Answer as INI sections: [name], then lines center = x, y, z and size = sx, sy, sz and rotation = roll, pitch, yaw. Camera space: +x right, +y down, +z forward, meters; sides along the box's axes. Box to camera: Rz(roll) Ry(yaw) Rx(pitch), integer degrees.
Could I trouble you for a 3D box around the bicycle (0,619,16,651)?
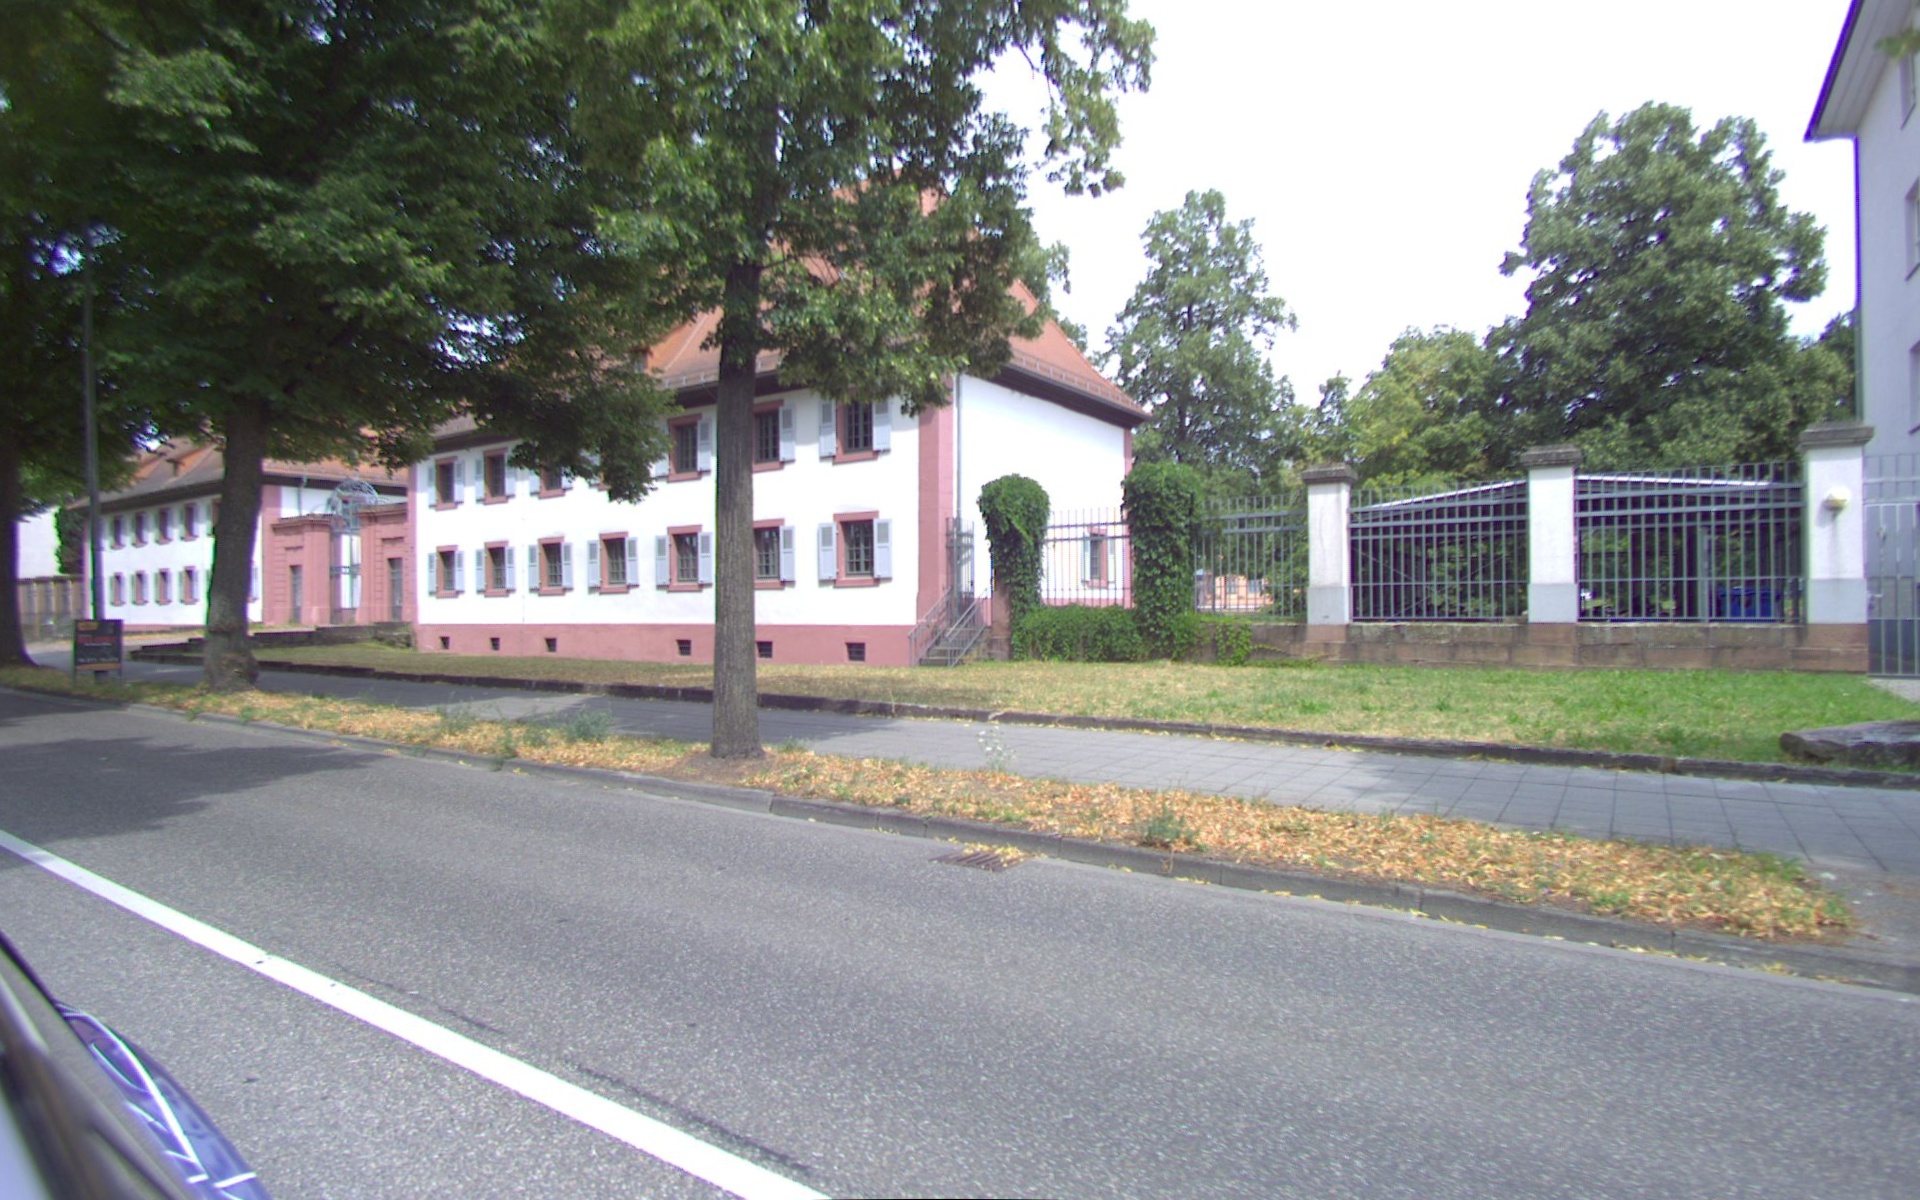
[bicycle]
center = -34.160, 1.255, 35.712
size = 2.219, 1.103, 0.717
rotation = -2, 2, 34
